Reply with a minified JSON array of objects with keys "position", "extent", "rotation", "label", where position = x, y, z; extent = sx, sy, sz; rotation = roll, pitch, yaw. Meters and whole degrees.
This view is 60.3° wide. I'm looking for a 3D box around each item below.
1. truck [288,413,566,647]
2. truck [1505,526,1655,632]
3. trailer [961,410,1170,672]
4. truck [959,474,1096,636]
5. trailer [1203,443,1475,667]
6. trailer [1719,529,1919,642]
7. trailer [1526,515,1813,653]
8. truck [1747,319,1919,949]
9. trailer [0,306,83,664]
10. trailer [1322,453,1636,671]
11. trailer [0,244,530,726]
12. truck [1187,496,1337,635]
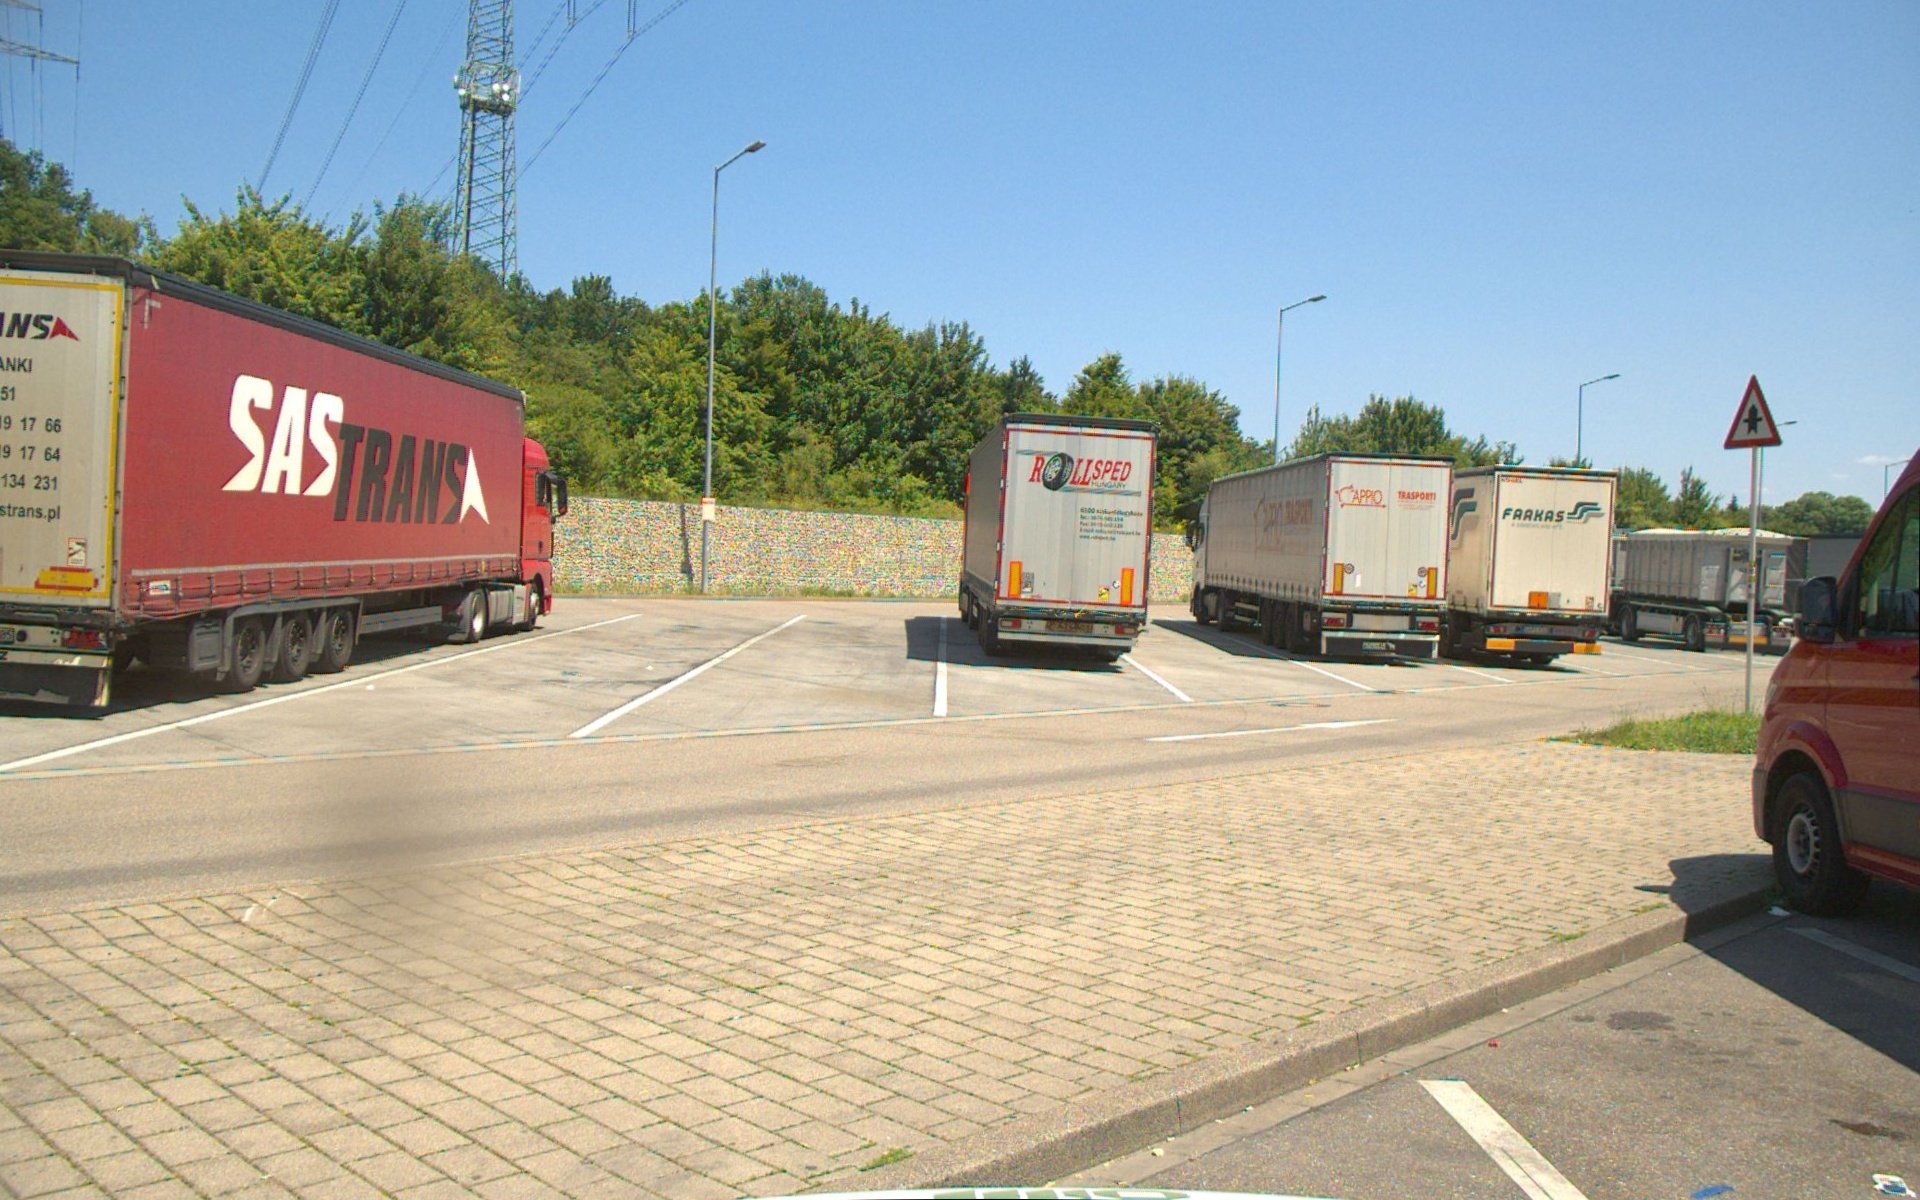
[{"position":[-8.796,-1.164,28.084],"extent":[2.755,3.421,5.974],"rotation":[2,2,-1],"label":"truck"},{"position":[21.736,-0.797,58.363],"extent":[2.808,3.421,5.974],"rotation":[2,2,-1],"label":"truck"},{"position":[1.679,-1.177,33.168],"extent":[2.800,4.040,13.761],"rotation":[2,2,-2],"label":"trailer"},{"position":[1.477,-1.093,39.365],"extent":[2.808,3.421,5.974],"rotation":[2,2,-1],"label":"truck"},{"position":[8.251,-1.104,38.522],"extent":[2.800,4.180,13.762],"rotation":[2,2,-1],"label":"trailer"},{"position":[34.786,-0.712,65.469],"extent":[2.800,3.972,13.762],"rotation":[2,2,-1],"label":"trailer"},{"position":[21.836,-0.683,52.268],"extent":[2.800,3.662,13.762],"rotation":[2,2,-1],"label":"trailer"},{"position":[5.001,0.156,5.537],"extent":[1.969,2.697,6.457],"rotation":[1,0,3],"label":"truck"},{"position":[-12.482,-1.259,15.811],"extent":[2.651,4.173,10.389],"rotation":[2,2,-1],"label":"trailer"},{"position":[11.771,-0.993,39.587],"extent":[2.800,4.180,13.762],"rotation":[2,2,-1],"label":"trailer"},{"position":[-8.686,-1.271,21.268],"extent":[2.764,4.141,13.763],"rotation":[2,2,-1],"label":"trailer"},{"position":[8.128,-0.987,45.284],"extent":[2.808,3.421,5.974],"rotation":[2,2,-1],"label":"truck"}]
